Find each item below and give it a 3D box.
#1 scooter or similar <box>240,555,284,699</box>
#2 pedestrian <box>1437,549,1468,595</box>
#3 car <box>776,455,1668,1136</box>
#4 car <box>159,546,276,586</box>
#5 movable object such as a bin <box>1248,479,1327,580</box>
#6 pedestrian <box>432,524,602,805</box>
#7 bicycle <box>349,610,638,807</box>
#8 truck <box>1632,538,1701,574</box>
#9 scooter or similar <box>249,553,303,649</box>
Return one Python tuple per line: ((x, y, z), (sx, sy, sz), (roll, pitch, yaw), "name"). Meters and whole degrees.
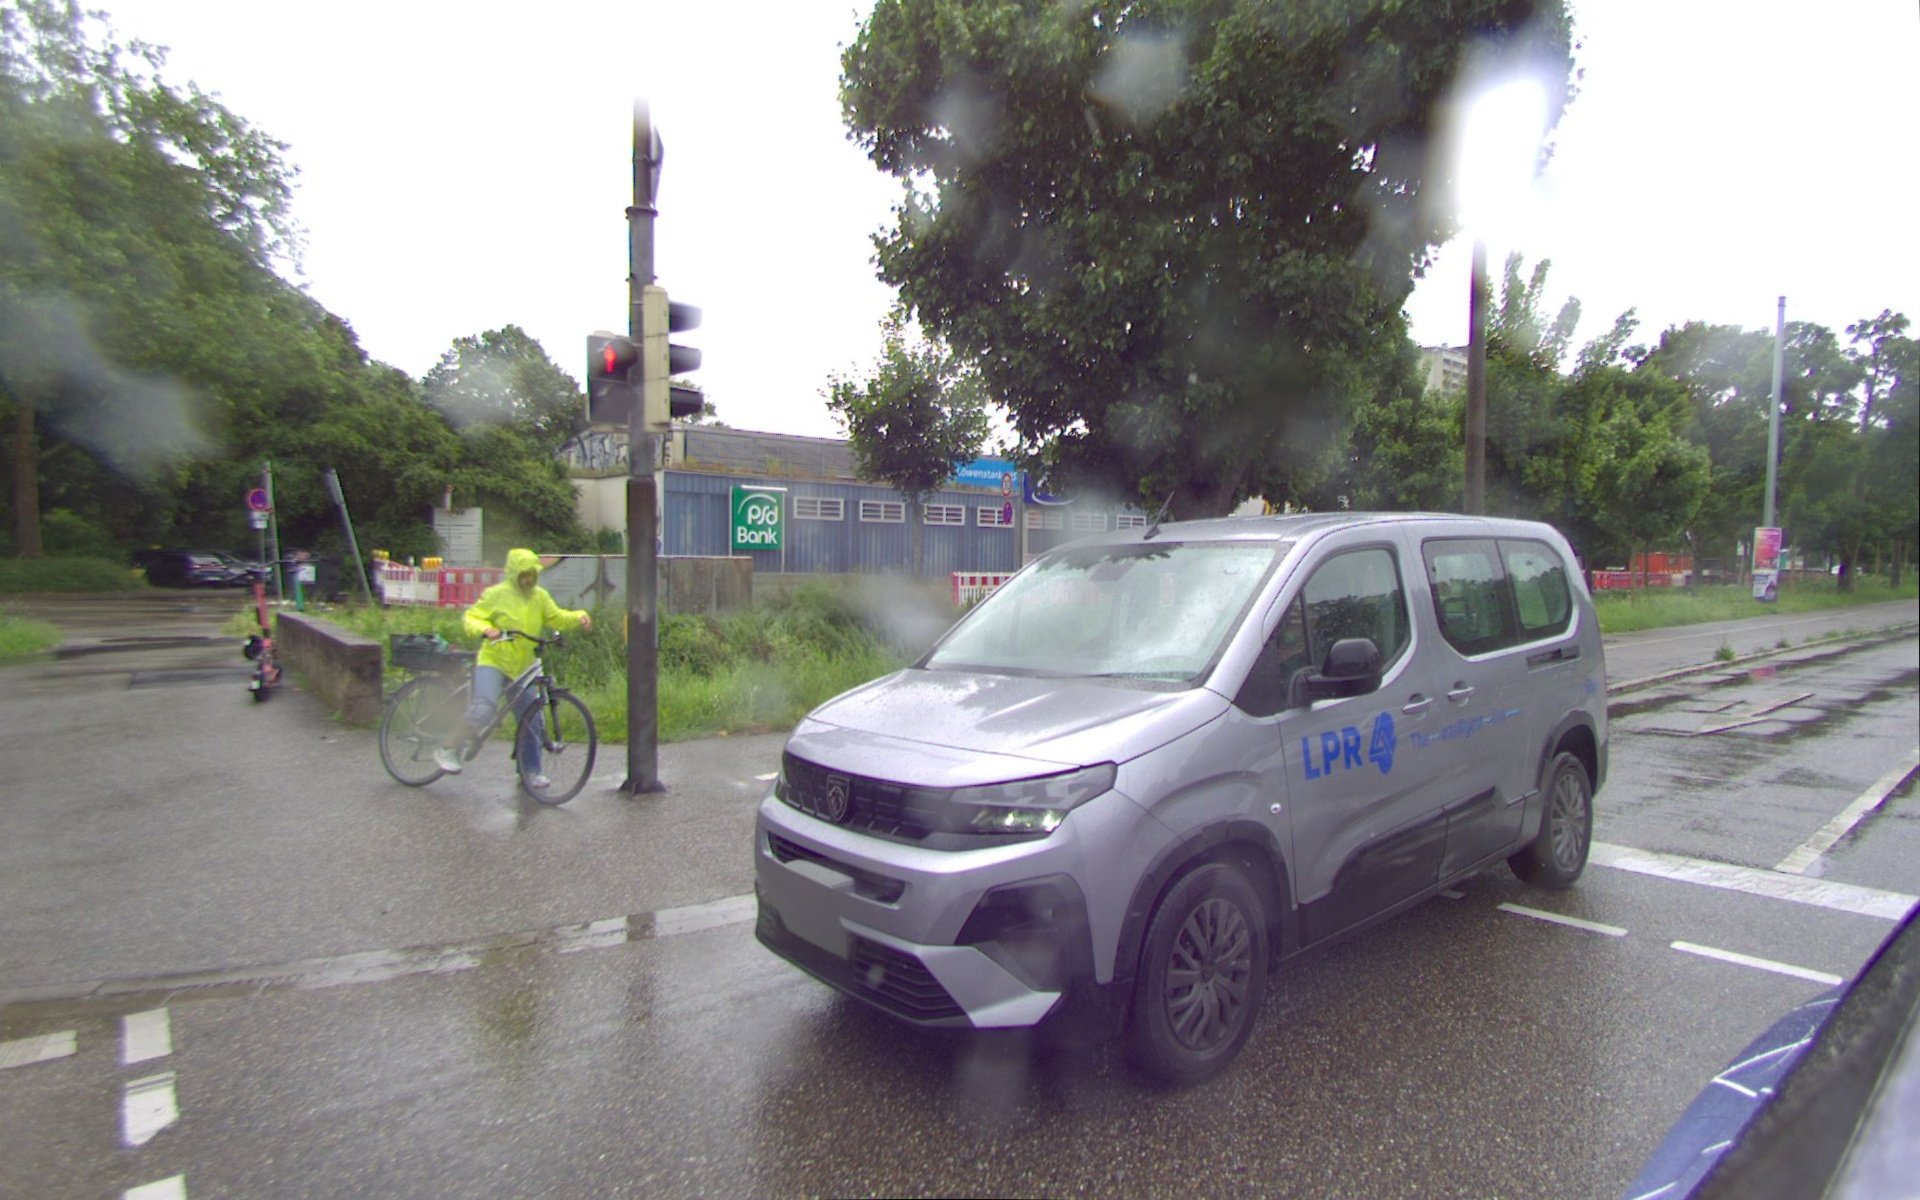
((-6.600, 0.223, 9.570), (0.316, 1.244, 0.961), (-1, 5, -35), "scooter or similar")
((21.458, -1.221, 44.112), (1.192, 1.960, 0.814), (-2, 1, -41), "pedestrian")
((1.586, 0.442, 4.917), (4.483, 1.818, 1.997), (-2, 2, -40), "car")
((-32.597, -1.501, 44.564), (3.921, 1.672, 1.704), (-2, 1, -30), "car")
((15.073, -3.197, 46.540), (3.839, 4.481, 1.557), (-2, 1, -39), "movable object such as a bin")
((-2.870, 0.362, 6.622), (0.660, 1.698, 0.786), (3, 5, 17), "pedestrian")
((-3.065, 0.662, 6.703), (1.642, 1.050, 0.786), (3, 5, 17), "bicycle")
((60.945, -3.779, 87.222), (8.599, 2.935, 2.809), (-3, 2, -41), "truck")
((-8.709, 0.005, 12.894), (0.549, 1.191, 0.286), (-1, 2, -34), "scooter or similar")
